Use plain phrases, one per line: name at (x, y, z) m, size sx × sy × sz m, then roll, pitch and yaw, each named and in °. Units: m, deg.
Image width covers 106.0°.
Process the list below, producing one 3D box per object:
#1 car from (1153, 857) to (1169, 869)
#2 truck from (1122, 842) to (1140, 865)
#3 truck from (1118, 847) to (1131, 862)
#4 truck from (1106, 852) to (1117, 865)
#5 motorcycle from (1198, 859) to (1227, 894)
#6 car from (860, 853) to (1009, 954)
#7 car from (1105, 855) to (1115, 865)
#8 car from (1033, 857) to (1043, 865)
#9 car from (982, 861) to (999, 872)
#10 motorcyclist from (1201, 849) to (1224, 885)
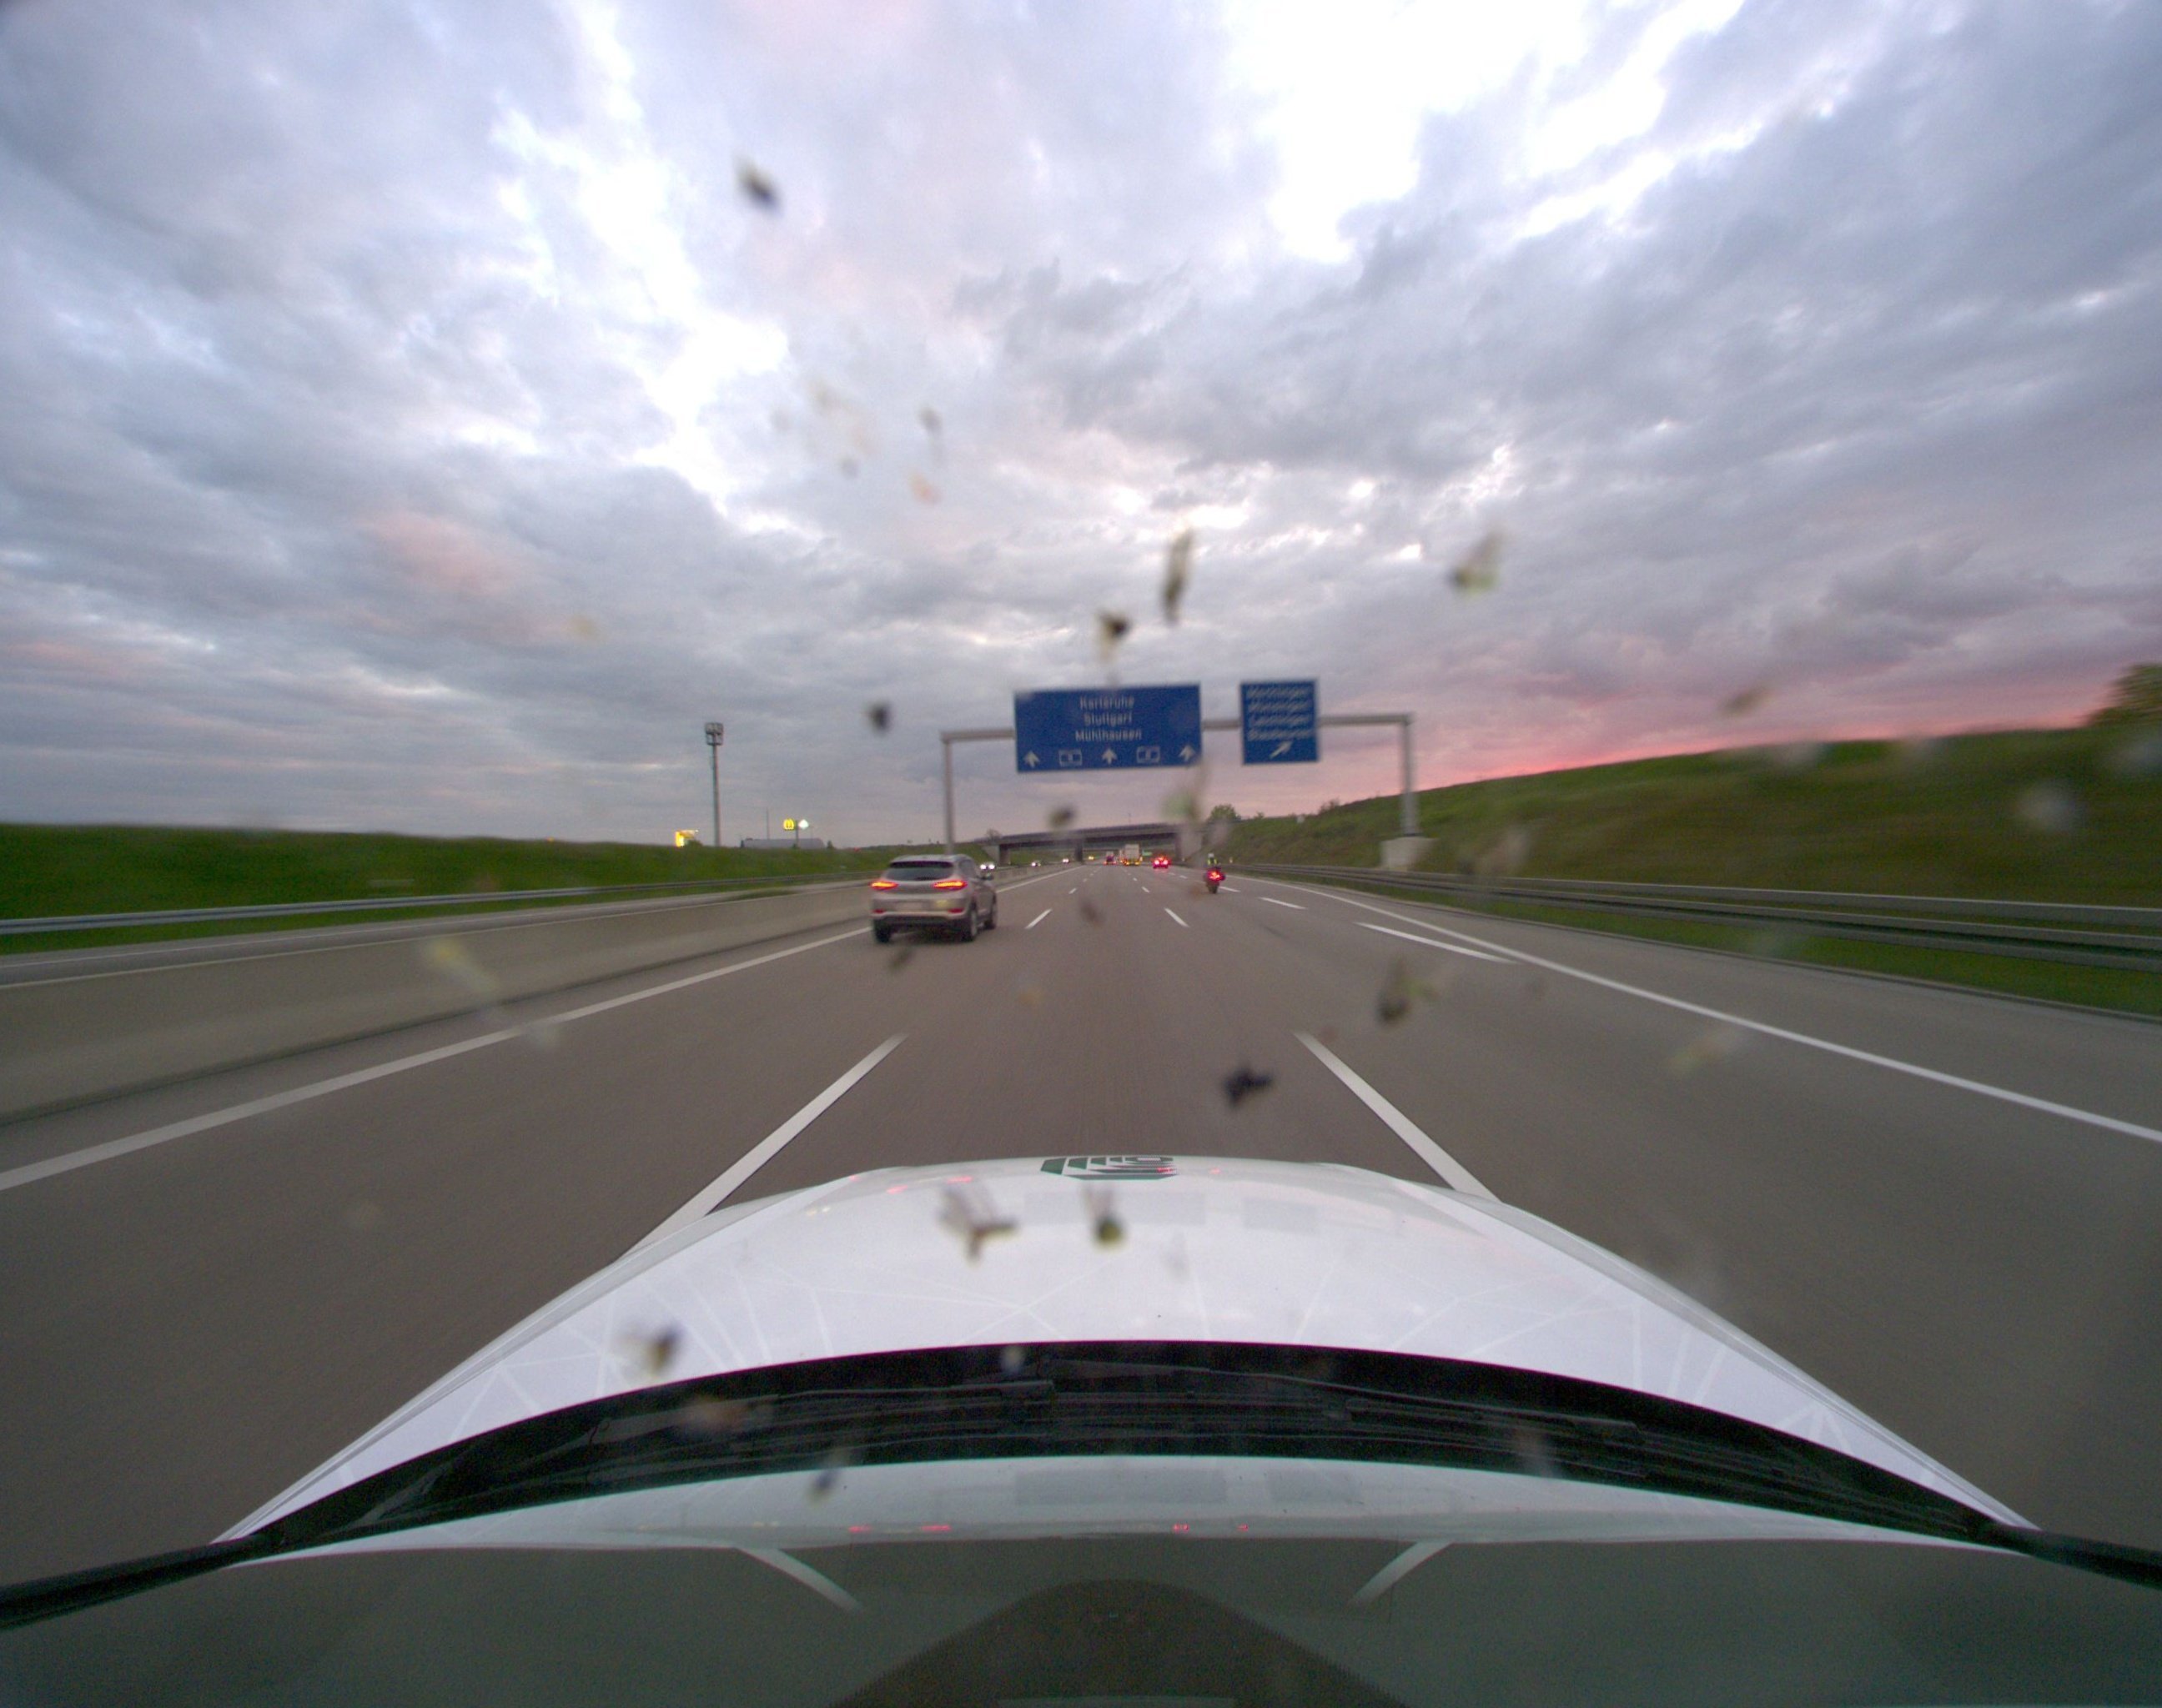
car at (11.110, 1.242, 113.004) m, size 1.911 × 1.579 × 4.001 m, roll -2°, pitch 0°, yaw 1°
truck at (9.498, -0.189, 154.056) m, size 3.221 × 4.227 × 9.605 m, roll -1°, pitch 0°, yaw 3°
truck at (12.974, 0.103, 244.532) m, size 3.512 × 4.345 × 8.409 m, roll -1°, pitch 0°, yaw 2°
truck at (8.201, 1.150, 219.807) m, size 2.941 × 3.217 × 8.409 m, roll -1°, pitch 0°, yaw 2°
motorcycle at (5.536, 0.913, 34.332) m, size 0.898 × 1.346 × 2.350 m, roll -2°, pitch 1°, yaw 3°
car at (-2.786, 0.860, 16.899) m, size 1.845 × 1.692 × 5.515 m, roll -1°, pitch 0°, yaw 2°
car at (7.188, 1.583, 203.702) m, size 2.507 × 2.391 × 6.498 m, roll -2°, pitch 0°, yaw 1°
car at (-9.147, 1.440, 173.648) m, size 1.812 × 1.628 × 4.003 m, roll -1°, pitch -1°, yaw 3°
car at (-14.378, 1.952, 129.356) m, size 1.986 × 1.602 × 5.200 m, roll -1°, pitch -1°, yaw 1°
motorcyclist at (5.506, 0.531, 34.165) m, size 0.862 × 1.487 × 1.169 m, roll -1°, pitch 0°, yaw 4°
